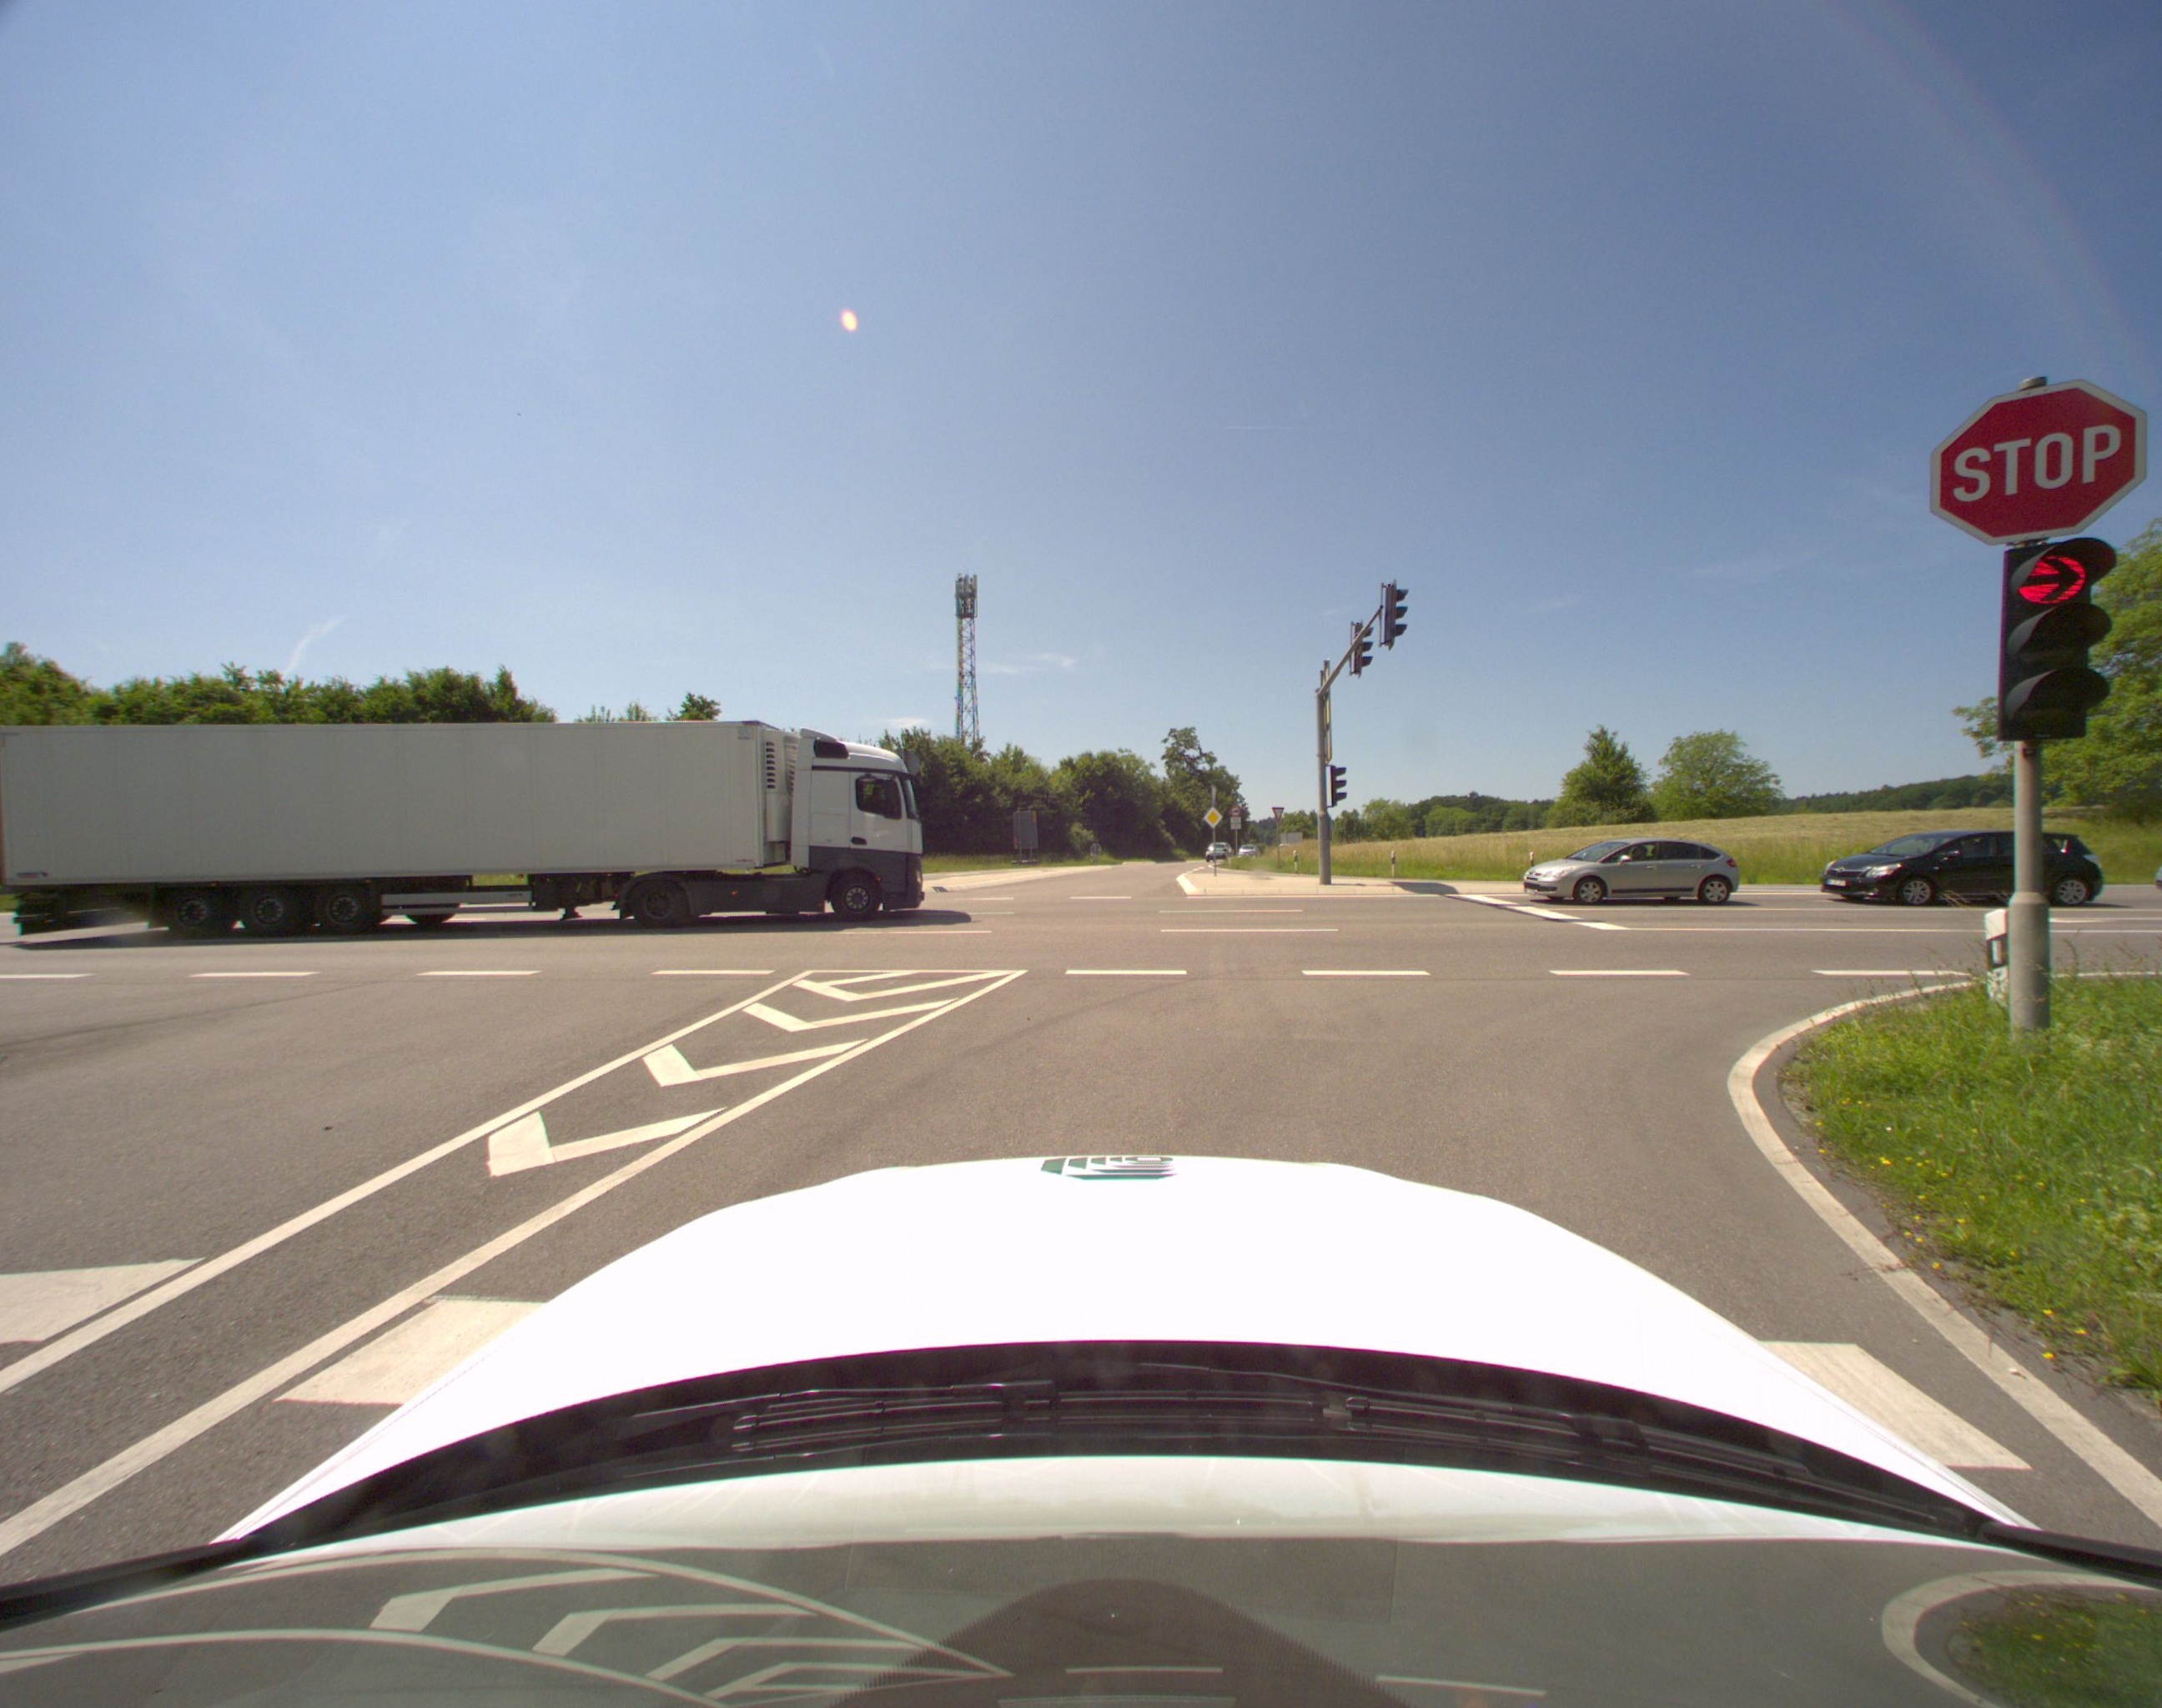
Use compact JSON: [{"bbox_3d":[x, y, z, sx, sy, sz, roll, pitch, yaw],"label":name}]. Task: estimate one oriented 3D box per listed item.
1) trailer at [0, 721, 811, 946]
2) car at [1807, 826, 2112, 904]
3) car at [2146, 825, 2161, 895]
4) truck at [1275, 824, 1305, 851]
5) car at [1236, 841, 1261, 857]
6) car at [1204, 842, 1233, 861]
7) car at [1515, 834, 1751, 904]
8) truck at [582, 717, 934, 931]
[{"bbox_3d":[-12.953,-0.481,16.603,13.766,4.036,2.657,-1,1,-4],"label":"trailer"},{"bbox_3d":[18.761,0.209,17.601,4.342,1.553,1.734,0,2,9],"label":"car"},{"bbox_3d":[25.869,0.155,17.239,3.984,1.553,1.660,0,2,9],"label":"car"},{"bbox_3d":[34.841,-2.702,136.220,3.107,4.172,16.727,-1,0,8],"label":"truck"},{"bbox_3d":[15.690,-0.505,76.071,1.798,1.413,3.802,-1,2,19],"label":"car"},{"bbox_3d":[10.649,-0.206,62.999,1.715,1.404,4.005,0,2,16],"label":"car"},{"bbox_3d":[12.396,0.313,18.521,4.135,1.469,1.733,0,2,6],"label":"car"},{"bbox_3d":[-6.437,-0.637,17.117,6.249,4.036,2.657,-1,1,-4],"label":"truck"}]
